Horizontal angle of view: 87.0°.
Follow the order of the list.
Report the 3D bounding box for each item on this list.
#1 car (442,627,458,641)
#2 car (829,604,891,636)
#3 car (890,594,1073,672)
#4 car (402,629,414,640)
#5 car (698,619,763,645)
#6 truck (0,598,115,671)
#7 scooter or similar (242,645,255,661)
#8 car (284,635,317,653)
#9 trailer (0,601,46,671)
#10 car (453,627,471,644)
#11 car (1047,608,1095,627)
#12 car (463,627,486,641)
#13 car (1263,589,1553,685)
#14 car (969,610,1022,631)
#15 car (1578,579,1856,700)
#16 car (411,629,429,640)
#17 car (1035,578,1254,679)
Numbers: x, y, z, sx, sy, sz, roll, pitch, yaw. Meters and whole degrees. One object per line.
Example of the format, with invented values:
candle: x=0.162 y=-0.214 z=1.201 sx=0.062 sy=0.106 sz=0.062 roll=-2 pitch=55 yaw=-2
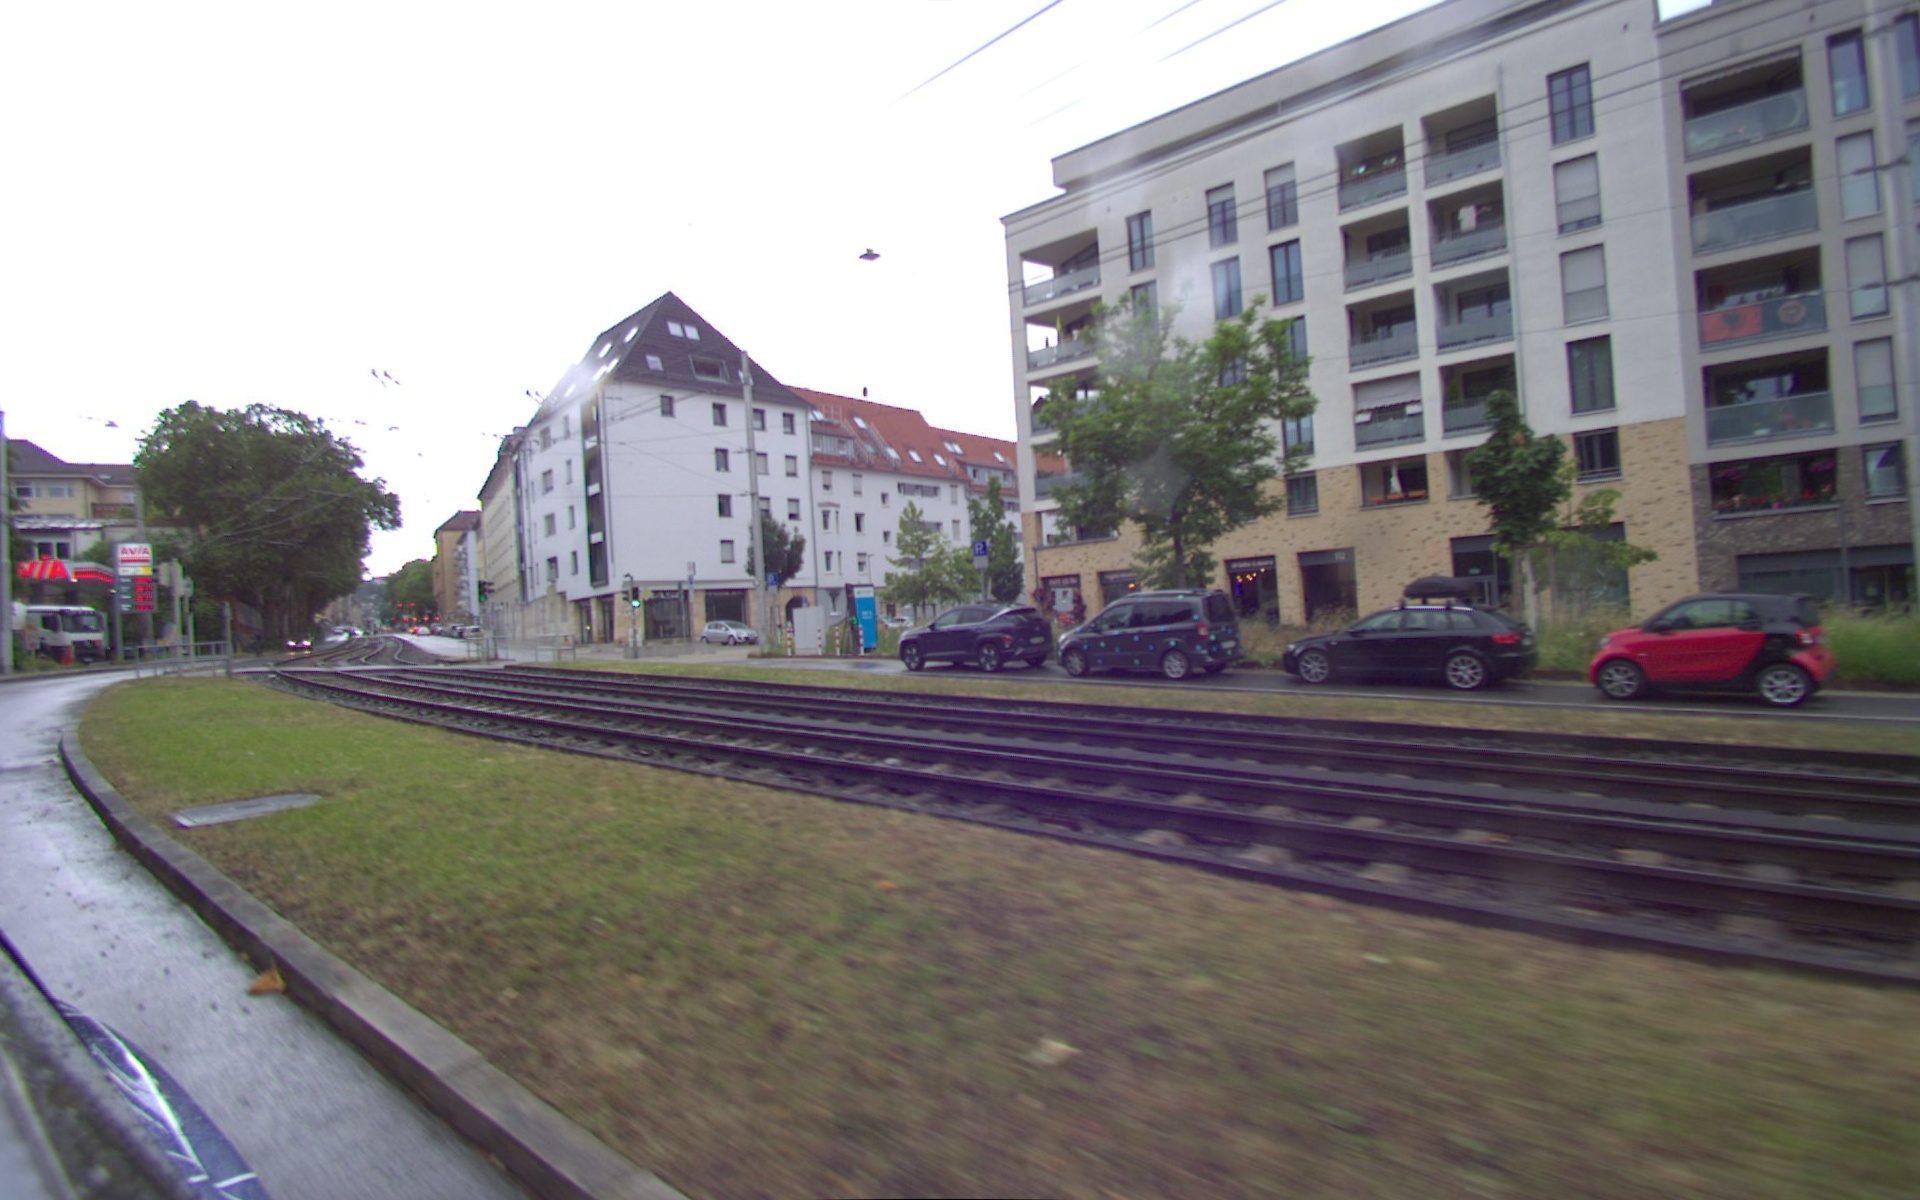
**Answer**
car: x=-71.604 y=4.770 z=142.106 sx=1.699 sy=1.822 sz=3.602 roll=-1 pitch=-1 yaw=-32
car: x=-6.810 y=1.366 z=68.516 sx=3.997 sy=2.029 sz=1.914 roll=-3 pitch=-2 yaw=40
car: x=0.466 y=0.784 z=24.887 sx=4.217 sy=1.616 sz=1.972 roll=-2 pitch=2 yaw=44
car: x=-105.272 y=6.631 z=192.933 sx=1.917 sy=2.029 sz=4.012 roll=-1 pitch=-1 yaw=-29
car: x=-13.603 y=1.874 z=59.825 sx=3.910 sy=1.431 sz=1.581 roll=-2 pitch=-1 yaw=37
truck: x=-45.997 y=1.731 z=50.184 sx=6.046 sy=3.425 sz=2.833 roll=-2 pitch=-2 yaw=4
scooter or similar: x=-59.170 y=4.373 z=84.174 sx=0.394 sy=1.201 sz=1.367 roll=-1 pitch=2 yaw=-16
car: x=-57.351 y=3.812 z=88.055 sx=1.858 sy=1.502 sz=3.862 roll=-1 pitch=-1 yaw=-26
trailer: x=-51.564 y=1.917 z=50.779 sx=9.717 sy=3.421 sz=2.808 roll=-2 pitch=-1 yaw=7
car: x=-63.071 y=4.473 z=128.085 sx=1.701 sy=1.975 sz=4.312 roll=-1 pitch=-1 yaw=-30
car: x=10.050 y=1.607 z=91.816 sx=3.997 sy=1.630 sz=1.914 roll=-3 pitch=-2 yaw=40
car: x=-56.763 y=3.965 z=118.241 sx=1.997 sy=1.554 sz=4.011 roll=-1 pitch=-1 yaw=-32
car: x=7.788 y=0.632 z=17.908 sx=4.401 sy=1.458 sz=1.533 roll=-2 pitch=0 yaw=44
car: x=2.880 y=1.676 z=82.010 sx=3.998 sy=1.630 sz=1.914 roll=-3 pitch=-2 yaw=41
car: x=10.753 y=0.532 z=14.485 sx=1.452 sy=1.542 sz=2.934 roll=-1 pitch=-1 yaw=-42
car: x=-88.337 y=5.646 z=165.382 sx=1.665 sy=1.548 sz=5.026 roll=-1 pitch=-2 yaw=-39
car: x=3.796 y=0.582 z=21.329 sx=4.334 sy=1.873 sz=1.564 roll=-2 pitch=1 yaw=44
